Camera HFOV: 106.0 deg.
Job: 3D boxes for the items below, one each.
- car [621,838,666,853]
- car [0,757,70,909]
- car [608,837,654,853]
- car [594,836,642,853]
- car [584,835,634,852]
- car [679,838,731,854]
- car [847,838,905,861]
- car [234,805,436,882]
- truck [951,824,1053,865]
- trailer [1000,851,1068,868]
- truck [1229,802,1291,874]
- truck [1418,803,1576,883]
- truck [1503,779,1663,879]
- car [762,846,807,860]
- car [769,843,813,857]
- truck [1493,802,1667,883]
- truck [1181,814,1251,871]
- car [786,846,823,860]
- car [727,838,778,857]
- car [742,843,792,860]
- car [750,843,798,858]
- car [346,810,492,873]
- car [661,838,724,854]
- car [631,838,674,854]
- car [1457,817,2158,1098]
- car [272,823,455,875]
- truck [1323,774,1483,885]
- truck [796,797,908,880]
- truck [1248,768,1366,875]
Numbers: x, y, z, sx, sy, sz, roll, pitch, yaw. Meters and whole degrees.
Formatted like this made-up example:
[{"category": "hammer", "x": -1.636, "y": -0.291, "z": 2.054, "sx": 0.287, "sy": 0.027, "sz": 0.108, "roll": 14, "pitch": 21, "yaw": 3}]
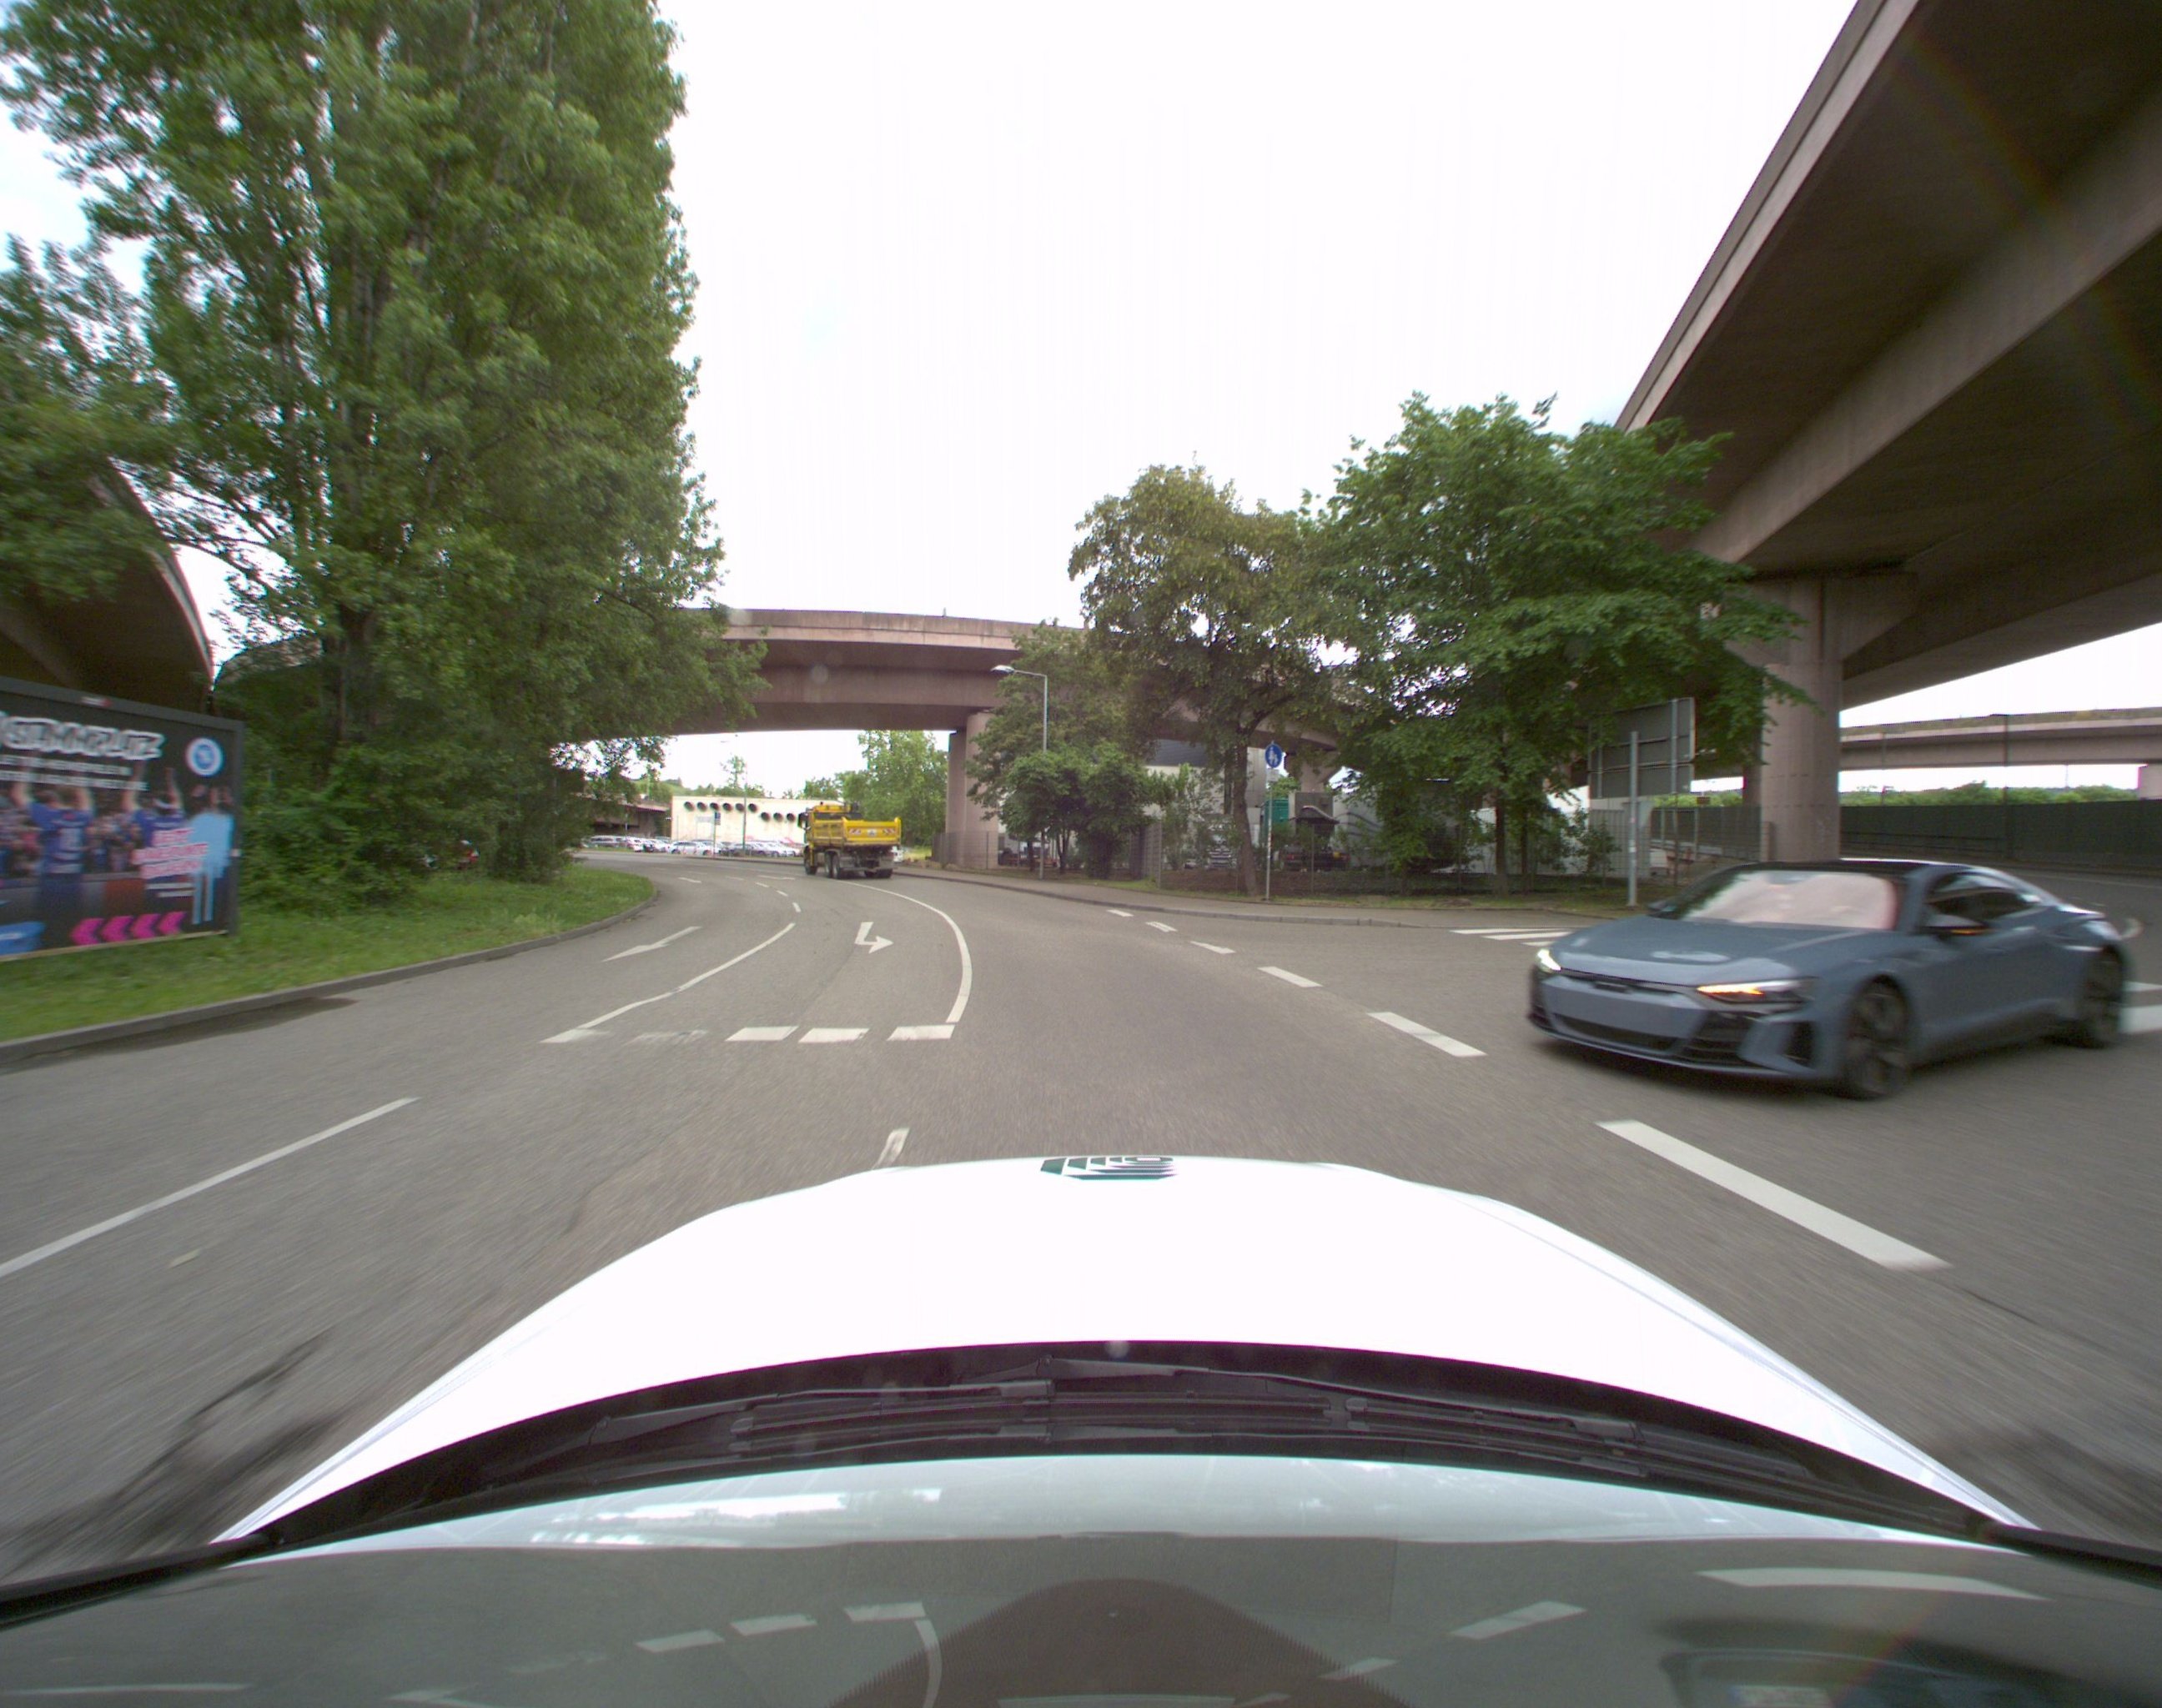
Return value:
[{"category": "car", "x": -47.272, "y": -0.921, "z": 88.102, "sx": 3.861, "sy": 1.633, "sz": 1.774, "roll": 0, "pitch": -1, "yaw": -3}, {"category": "car", "x": -17.302, "y": -0.323, "z": 11.603, "sx": 5.045, "sy": 2.072, "sz": 2.271, "roll": 0, "pitch": -1, "yaw": 23}, {"category": "car", "x": -47.266, "y": -0.938, "z": 85.596, "sx": 3.861, "sy": 1.633, "sz": 1.774, "roll": 0, "pitch": -1, "yaw": -3}, {"category": "car", "x": -47.265, "y": -0.963, "z": 83.258, "sx": 3.861, "sy": 1.633, "sz": 1.774, "roll": 0, "pitch": -1, "yaw": -3}, {"category": "car", "x": -46.913, "y": -0.988, "z": 80.997, "sx": 3.861, "sy": 1.633, "sz": 1.774, "roll": 0, "pitch": -1, "yaw": -3}, {"category": "car", "x": -35.532, "y": -0.776, "z": 77.048, "sx": 3.978, "sy": 1.442, "sz": 1.998, "roll": 0, "pitch": -1, "yaw": -3}, {"category": "car", "x": -17.050, "y": -0.366, "z": 67.856, "sx": 4.291, "sy": 1.857, "sz": 2.004, "roll": 0, "pitch": -1, "yaw": 7}, {"category": "car", "x": -18.968, "y": -0.238, "z": 20.728, "sx": 4.349, "sy": 1.791, "sz": 2.026, "roll": 0, "pitch": 0, "yaw": 21}, {"category": "truck", "x": -5.347, "y": -0.630, "z": 54.506, "sx": 7.140, "sy": 2.551, "sz": 2.741, "roll": 0, "pitch": 0, "yaw": 43}, {"category": "trailer", "x": -2.808, "y": 0.284, "z": 46.717, "sx": 2.157, "sy": 0.743, "sz": 6.251, "roll": -3, "pitch": 2, "yaw": -20}, {"category": "truck", "x": 12.647, "y": -1.159, "z": 58.243, "sx": 3.189, "sy": 4.779, "sz": 8.057, "roll": 0, "pitch": 1, "yaw": 4}, {"category": "truck", "x": 16.399, "y": -0.480, "z": 32.708, "sx": 2.907, "sy": 2.898, "sz": 6.555, "roll": 0, "pitch": 1, "yaw": -1}, {"category": "truck", "x": 23.740, "y": -1.187, "z": 39.176, "sx": 3.053, "sy": 4.299, "sz": 8.055, "roll": 0, "pitch": 1, "yaw": 3}, {"category": "car", "x": -30.887, "y": -0.069, "z": 84.865, "sx": 3.978, "sy": 1.406, "sz": 1.998, "roll": 0, "pitch": -1, "yaw": -3}, {"category": "car", "x": -31.073, "y": -0.383, "z": 87.271, "sx": 3.978, "sy": 1.442, "sz": 1.998, "roll": 0, "pitch": -1, "yaw": -3}, {"category": "truck", "x": 19.805, "y": -0.500, "z": 32.881, "sx": 2.907, "sy": 2.898, "sz": 6.555, "roll": 0, "pitch": 1, "yaw": -1}, {"category": "truck", "x": 9.008, "y": -0.851, "z": 55.538, "sx": 3.049, "sy": 3.618, "sz": 7.907, "roll": 0, "pitch": 2, "yaw": -3}, {"category": "car", "x": -31.260, "y": -0.112, "z": 92.126, "sx": 3.692, "sy": 1.442, "sz": 1.633, "roll": 0, "pitch": -1, "yaw": -3}, {"category": "car", "x": -30.076, "y": -0.600, "z": 74.668, "sx": 3.979, "sy": 1.640, "sz": 1.687, "roll": 0, "pitch": -1, "yaw": -4}, {"category": "car", "x": -29.936, "y": -0.219, "z": 77.679, "sx": 3.979, "sy": 1.640, "sz": 1.997, "roll": 0, "pitch": -1, "yaw": -5}, {"category": "car", "x": -30.221, "y": -0.351, "z": 80.250, "sx": 3.978, "sy": 1.442, "sz": 1.998, "roll": 0, "pitch": -1, "yaw": -3}, {"category": "car", "x": -22.546, "y": -0.450, "z": 27.742, "sx": 4.396, "sy": 2.013, "sz": 2.011, "roll": 1, "pitch": 0, "yaw": 23}, {"category": "car", "x": -35.592, "y": -0.704, "z": 74.655, "sx": 4.809, "sy": 1.442, "sz": 1.998, "roll": 0, "pitch": -1, "yaw": -3}, {"category": "car", "x": -47.608, "y": -0.885, "z": 90.495, "sx": 3.861, "sy": 1.633, "sz": 1.774, "roll": 0, "pitch": -1, "yaw": -3}, {"category": "car", "x": 5.621, "y": 0.559, "z": 6.326, "sx": 4.936, "sy": 1.502, "sz": 2.157, "roll": 0, "pitch": 0, "yaw": -23}, {"category": "car", "x": -21.401, "y": -0.124, "z": 24.312, "sx": 4.735, "sy": 1.443, "sz": 2.133, "roll": 0, "pitch": 0, "yaw": 21}, {"category": "truck", "x": 12.431, "y": -0.962, "z": 32.402, "sx": 3.057, "sy": 3.867, "sz": 8.044, "roll": 0, "pitch": 1, "yaw": -1}, {"category": "truck", "x": -11.002, "y": -0.756, "z": 38.501, "sx": 2.946, "sy": 3.481, "sz": 8.163, "roll": -2, "pitch": 2, "yaw": -31}, {"category": "truck", "x": 9.136, "y": -1.301, "z": 33.762, "sx": 3.055, "sy": 3.962, "sz": 6.924, "roll": 0, "pitch": 1, "yaw": 1}]
